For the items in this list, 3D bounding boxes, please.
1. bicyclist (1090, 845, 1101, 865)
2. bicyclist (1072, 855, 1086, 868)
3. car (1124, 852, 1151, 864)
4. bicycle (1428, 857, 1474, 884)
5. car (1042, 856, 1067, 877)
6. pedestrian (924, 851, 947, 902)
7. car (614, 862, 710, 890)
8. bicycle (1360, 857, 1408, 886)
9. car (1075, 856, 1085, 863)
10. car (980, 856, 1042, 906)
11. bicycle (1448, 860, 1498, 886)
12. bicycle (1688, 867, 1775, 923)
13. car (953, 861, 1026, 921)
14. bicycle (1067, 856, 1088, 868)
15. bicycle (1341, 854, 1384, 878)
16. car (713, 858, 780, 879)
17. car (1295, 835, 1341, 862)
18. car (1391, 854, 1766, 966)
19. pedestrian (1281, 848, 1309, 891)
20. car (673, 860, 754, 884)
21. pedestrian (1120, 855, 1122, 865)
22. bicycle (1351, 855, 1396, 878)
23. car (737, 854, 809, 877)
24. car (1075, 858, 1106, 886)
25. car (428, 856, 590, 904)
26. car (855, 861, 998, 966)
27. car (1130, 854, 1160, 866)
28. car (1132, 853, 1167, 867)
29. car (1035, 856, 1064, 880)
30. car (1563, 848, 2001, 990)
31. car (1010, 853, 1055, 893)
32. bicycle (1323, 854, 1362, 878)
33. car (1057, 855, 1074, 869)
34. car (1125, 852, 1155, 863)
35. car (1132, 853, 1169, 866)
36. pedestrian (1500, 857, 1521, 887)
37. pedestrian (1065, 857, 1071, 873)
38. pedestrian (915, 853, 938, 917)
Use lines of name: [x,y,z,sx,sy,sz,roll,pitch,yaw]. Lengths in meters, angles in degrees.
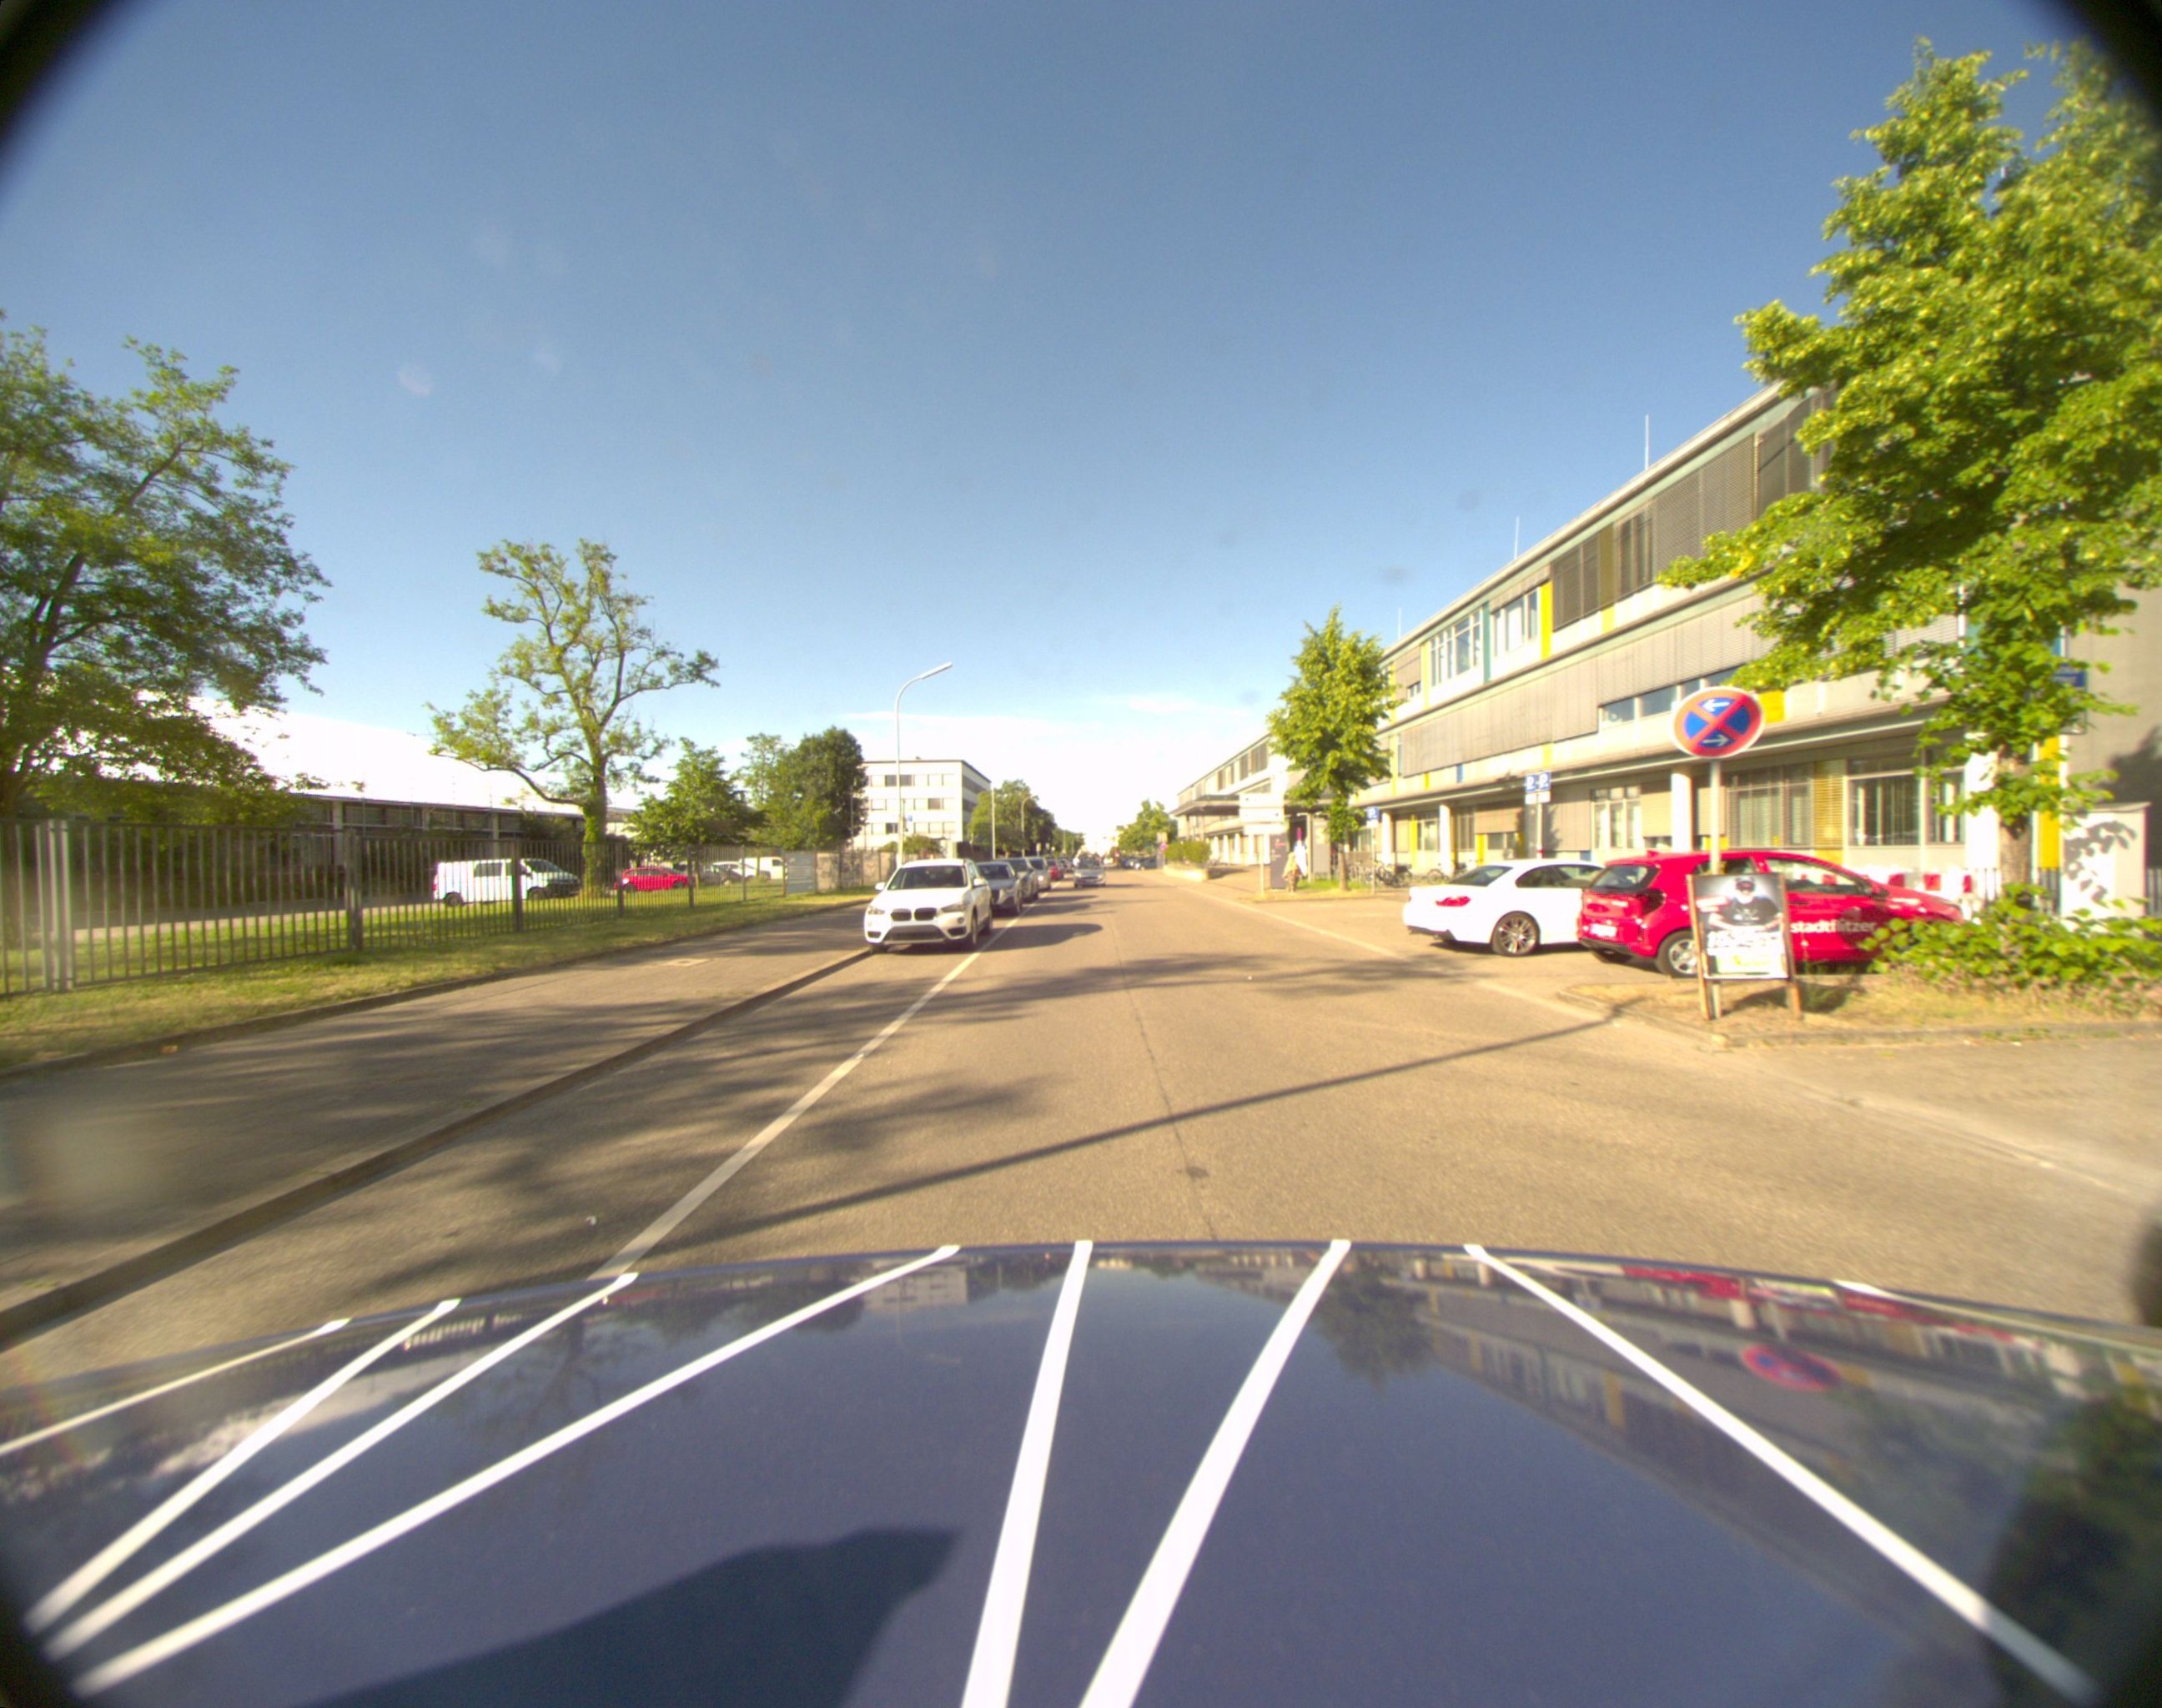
bicyclist: [1.525,0.131,78.408,1.052,2.002,0.959,-2,2,-1]
bicyclist: [-0.179,0.708,74.101,1.098,1.261,0.863,-1,1,16]
car: [9.528,0.663,127.382,4.358,1.852,2.000,-3,0,2]
bicycle: [16.108,0.714,33.109,1.719,1.117,0.536,-1,1,0]
car: [-2.027,0.942,59.338,1.705,1.478,4.215,-2,0,0]
pedestrian: [-4.746,0.717,24.754,0.540,1.602,0.683,-3,1,-2]
car: [-22.731,1.172,41.321,4.153,1.245,1.828,-3,0,-2]
bicycle: [12.195,0.702,30.590,1.706,1.115,0.536,-1,1,6]
car: [-0.154,1.252,171.800,1.999,1.382,3.998,0,0,-4]
car: [-2.483,0.919,27.878,1.705,1.597,4.353,-2,0,1]
bicycle: [15.723,0.751,30.511,1.719,0.988,0.536,-1,1,0]
bicycle: [13.987,0.857,16.399,0.421,1.117,1.764,-1,0,2]
car: [-2.572,1.005,22.122,1.705,1.479,3.979,-2,0,-2]
bicycle: [-0.346,0.768,74.150,1.899,1.136,0.668,-1,1,16]
bicycle: [12.543,0.514,33.823,1.719,1.049,0.536,-1,1,-1]
car: [-23.142,0.991,52.631,3.899,1.371,1.675,-1,0,-2]
car: [17.143,-0.368,55.260,1.924,1.880,4.711,-1,0,0]
car: [7.382,0.803,11.639,4.522,1.359,1.700,-3,0,3]
pedestrian: [8.046,0.568,28.611,0.774,1.540,0.780,-3,1,1]
car: [-23.338,1.125,48.352,4.153,1.245,1.878,-3,0,-2]
pedestrian: [7.623,1.135,144.025,0.369,1.712,0.479,-3,5,-3]
bicycle: [12.675,0.535,32.922,1.719,0.968,0.536,-1,1,-1]
car: [-23.370,0.882,57.726,4.642,1.658,1.999,-1,0,-5]
car: [0.488,0.932,41.210,1.551,1.389,3.453,-1,0,-1]
car: [-23.545,1.037,31.418,4.979,1.635,2.095,-3,0,-2]
car: [-2.724,0.971,14.388,1.817,1.579,4.261,-2,0,-1]
car: [8.901,0.832,105.572,3.991,1.480,1.823,-3,1,-1]
car: [8.560,0.774,95.290,4.232,1.642,1.960,-1,0,-2]
car: [-2.189,0.950,53.534,1.813,1.501,4.721,-2,0,0]
car: [8.221,0.736,9.218,3.642,1.460,1.615,-2,0,6]
car: [-2.310,0.868,37.155,1.813,1.712,4.704,-2,0,0]
bicycle: [12.624,0.588,36.660,1.720,1.117,0.536,-1,1,-9]
car: [-1.734,0.893,86.836,1.668,1.505,4.114,-2,0,1]
car: [8.727,0.459,112.614,4.101,1.414,1.823,-3,1,-1]
car: [8.275,0.641,90.477,4.142,1.458,1.753,-1,0,-1]
pedestrian: [16.950,0.701,30.002,0.533,1.166,0.556,-1,1,2]
pedestrian: [-1.433,1.173,82.903,0.693,1.718,0.775,0,1,0]
pedestrian: [-4.239,0.847,20.809,0.522,1.699,0.522,-3,1,-11]
